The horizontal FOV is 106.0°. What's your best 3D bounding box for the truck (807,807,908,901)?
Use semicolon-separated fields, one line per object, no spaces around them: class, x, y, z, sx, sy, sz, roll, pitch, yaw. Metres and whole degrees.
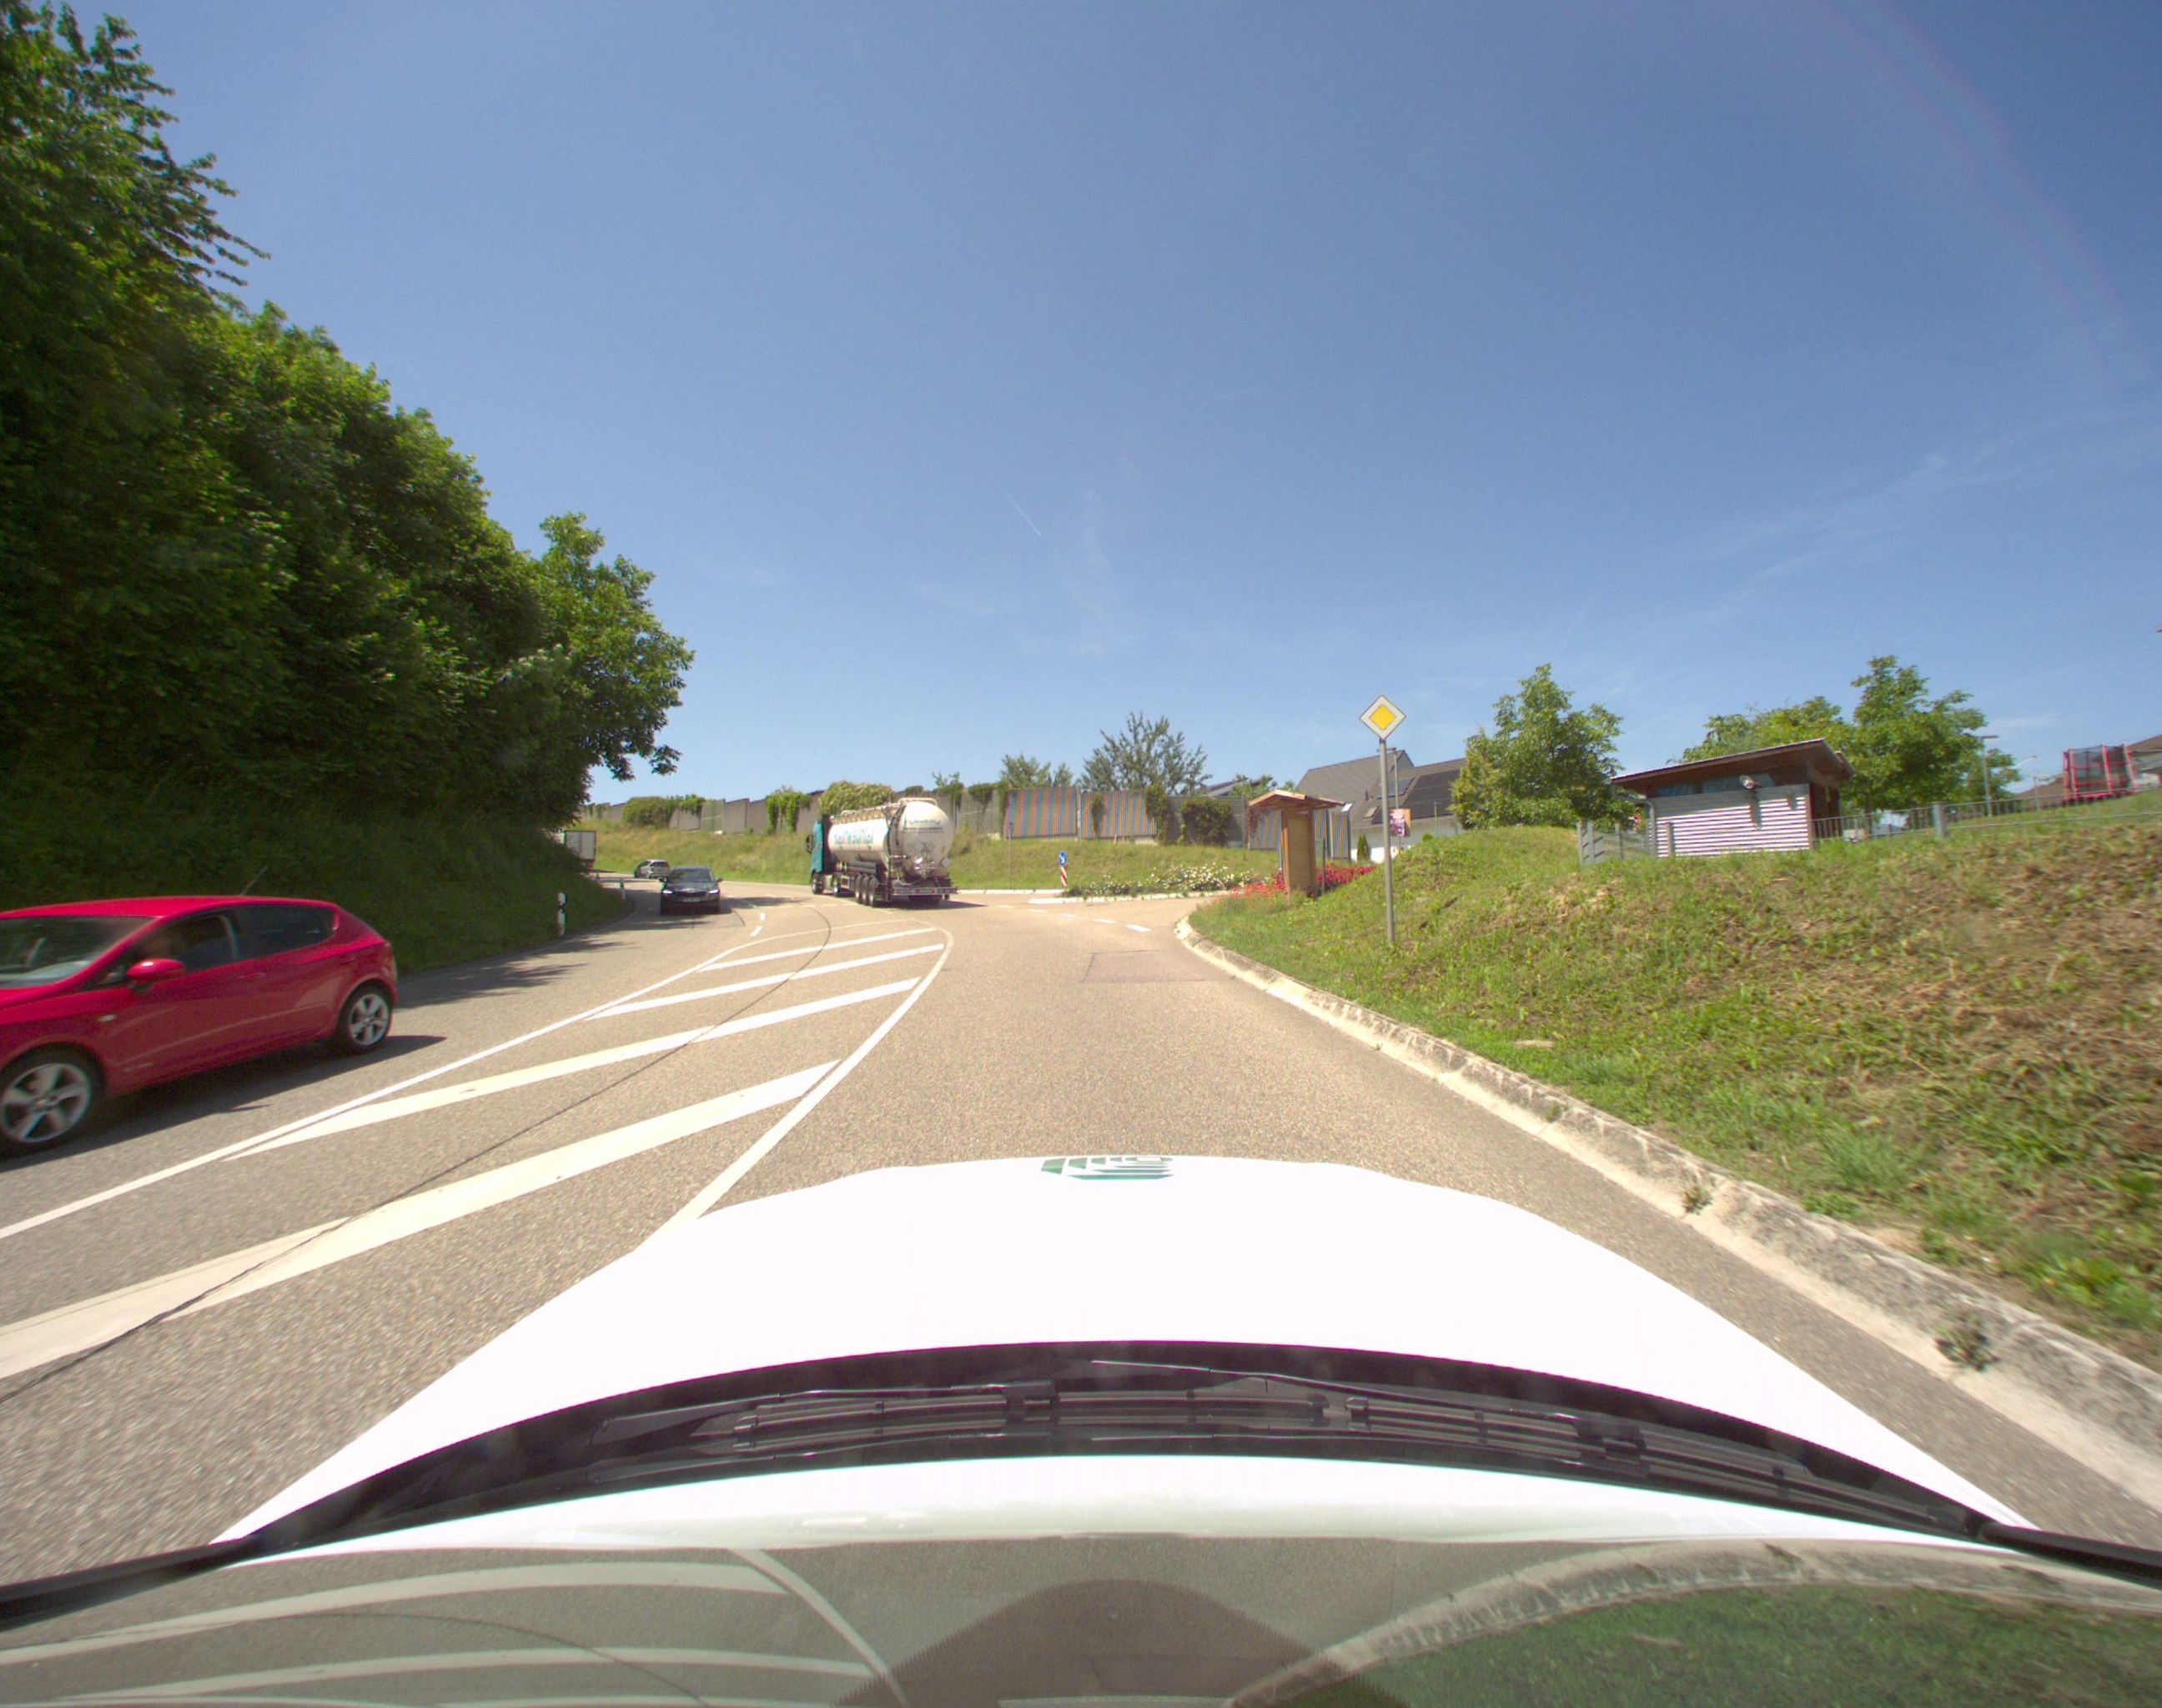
truck;-10.662;-0.011;38.291;2.744;3.929;7.194;-2;1;-30

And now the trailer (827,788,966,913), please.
trailer;-7.909;-0.132;33.101;2.676;4.188;11.800;-2;0;-27

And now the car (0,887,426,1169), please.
car;-6.957;1.035;5.776;1.748;1.448;3.989;-1;-1;-8

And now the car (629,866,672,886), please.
car;-34.620;1.767;65.460;3.592;1.510;1.663;0;-3;39

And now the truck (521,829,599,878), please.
truck;-50.783;-0.105;79.190;11.651;4.310;3.219;2;-3;42

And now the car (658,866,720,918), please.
car;-13.680;1.256;28.403;1.801;1.605;4.143;-1;0;-27
